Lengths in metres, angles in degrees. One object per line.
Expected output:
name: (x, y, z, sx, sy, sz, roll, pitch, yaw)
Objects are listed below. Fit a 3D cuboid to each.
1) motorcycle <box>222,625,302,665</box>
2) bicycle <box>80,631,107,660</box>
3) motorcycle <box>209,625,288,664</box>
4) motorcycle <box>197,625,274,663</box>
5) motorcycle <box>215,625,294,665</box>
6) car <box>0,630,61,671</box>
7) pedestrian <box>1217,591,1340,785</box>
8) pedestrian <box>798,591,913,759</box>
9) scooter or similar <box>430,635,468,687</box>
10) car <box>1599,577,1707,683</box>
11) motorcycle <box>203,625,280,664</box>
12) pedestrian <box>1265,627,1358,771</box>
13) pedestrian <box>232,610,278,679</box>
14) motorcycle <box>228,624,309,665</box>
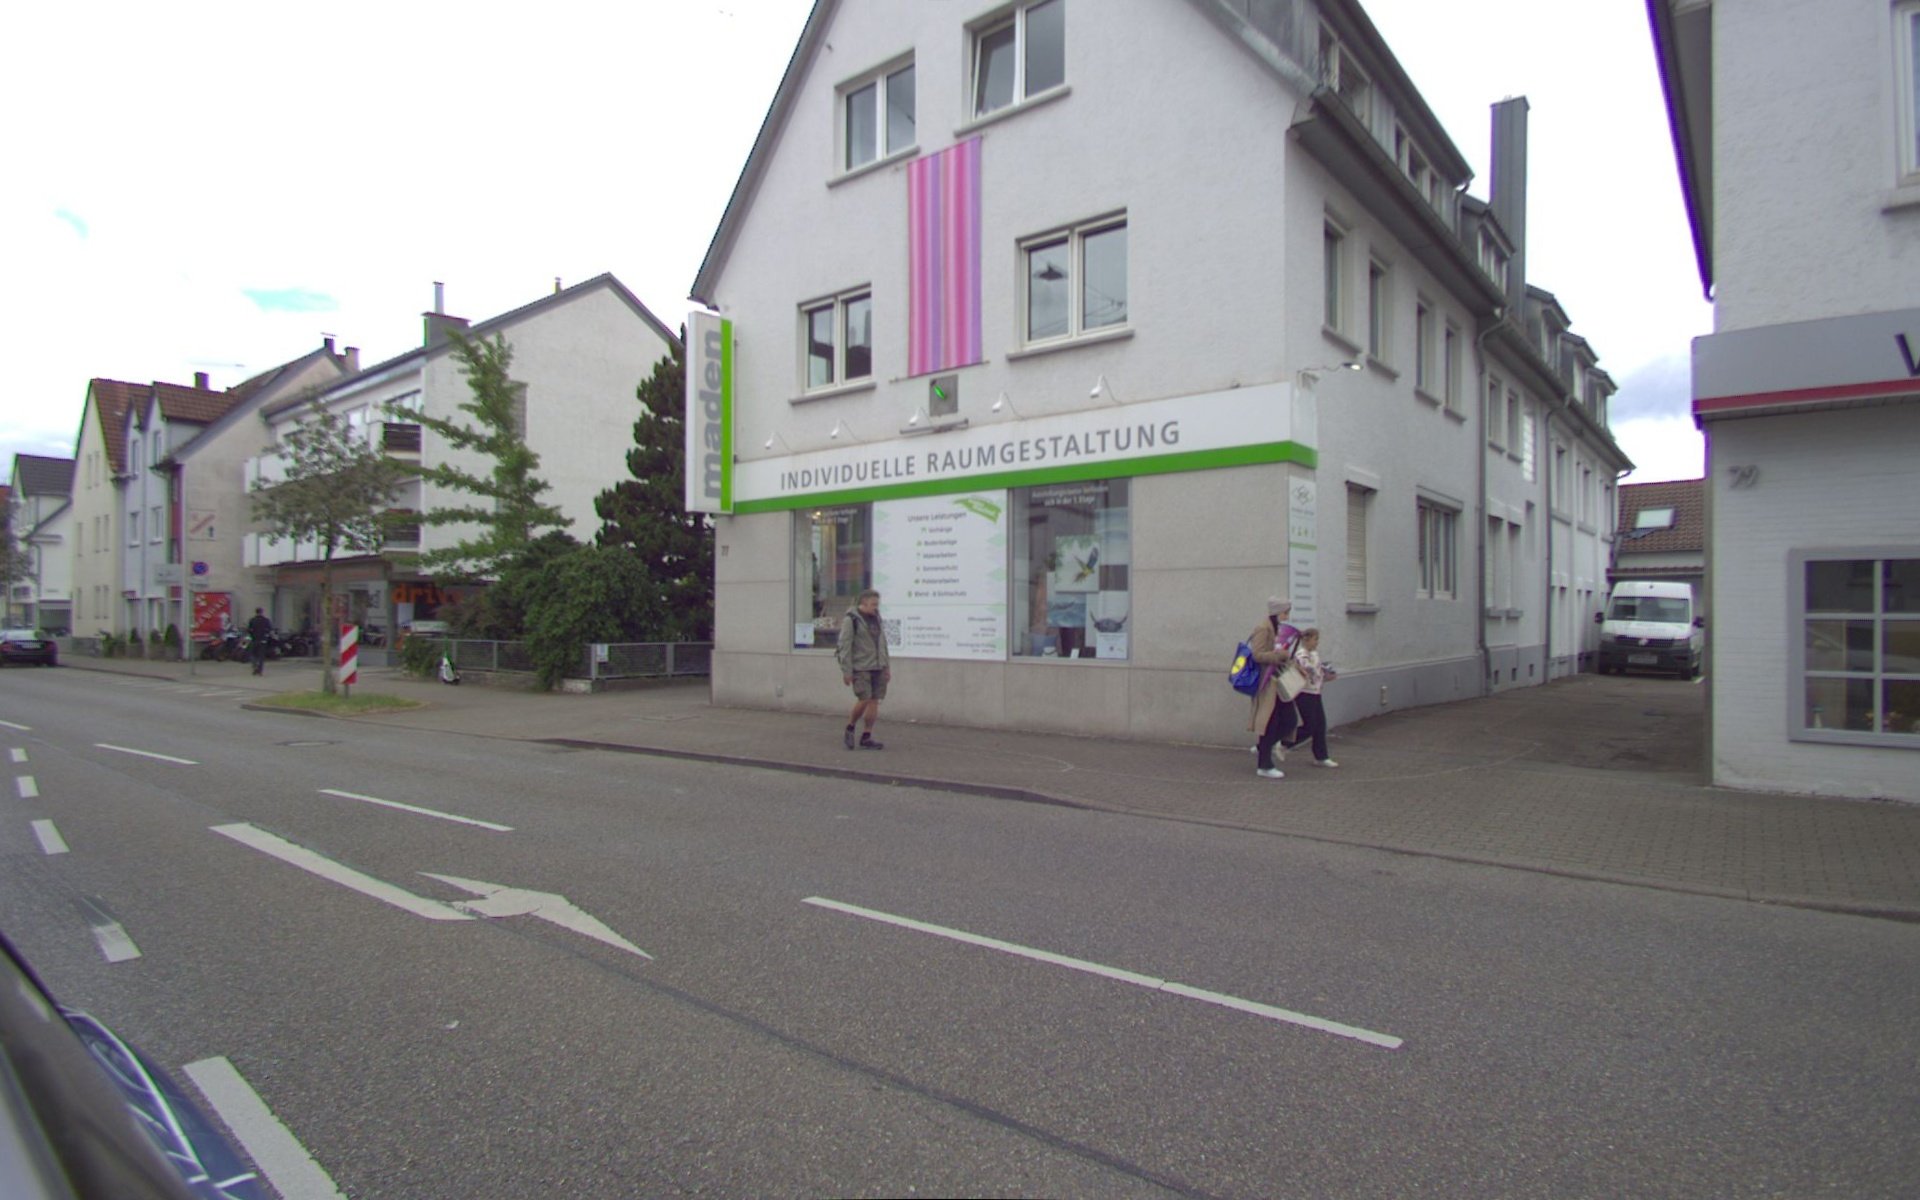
motorcycle: (-24.557, 1.567, 35.654, 0.612, 1.275, 2.204, -1, 1, 38)
bicycle: (-37.018, 1.937, 43.236, 2.022, 1.205, 0.509, -1, -1, 39)
motorcycle: (-25.770, 1.594, 36.689, 0.698, 1.275, 2.204, -1, 1, 38)
motorcycle: (-26.959, 1.617, 37.685, 0.612, 1.275, 2.204, -1, 1, 38)
motorcycle: (-25.202, 1.580, 36.211, 0.612, 1.275, 2.204, -1, 1, 38)
car: (-35.366, 1.863, 37.960, 4.337, 1.428, 1.770, -1, -2, 39)
pedestrian: (2.881, 0.753, 9.138, 0.792, 1.629, 0.744, -1, 2, 40)
pedestrian: (-1.171, 0.796, 11.318, 1.019, 1.756, 0.744, -1, 1, 40)
scooter or similar: (-11.352, 1.342, 22.465, 1.179, 1.120, 0.336, -1, -1, 41)
car: (18.805, 0.707, 27.339, 1.957, 2.527, 5.918, 2, 1, 38)
motorcycle: (-26.414, 1.605, 37.239, 0.612, 1.275, 2.204, -1, 1, 38)
pedestrian: (3.357, 0.912, 9.665, 0.654, 1.289, 0.593, -1, 0, 40)
pedestrian: (-19.705, 1.232, 28.281, 1.019, 1.863, 0.744, -1, 2, 40)
motorcycle: (-23.925, 1.516, 35.057, 0.612, 1.275, 2.204, -1, 1, 38)
